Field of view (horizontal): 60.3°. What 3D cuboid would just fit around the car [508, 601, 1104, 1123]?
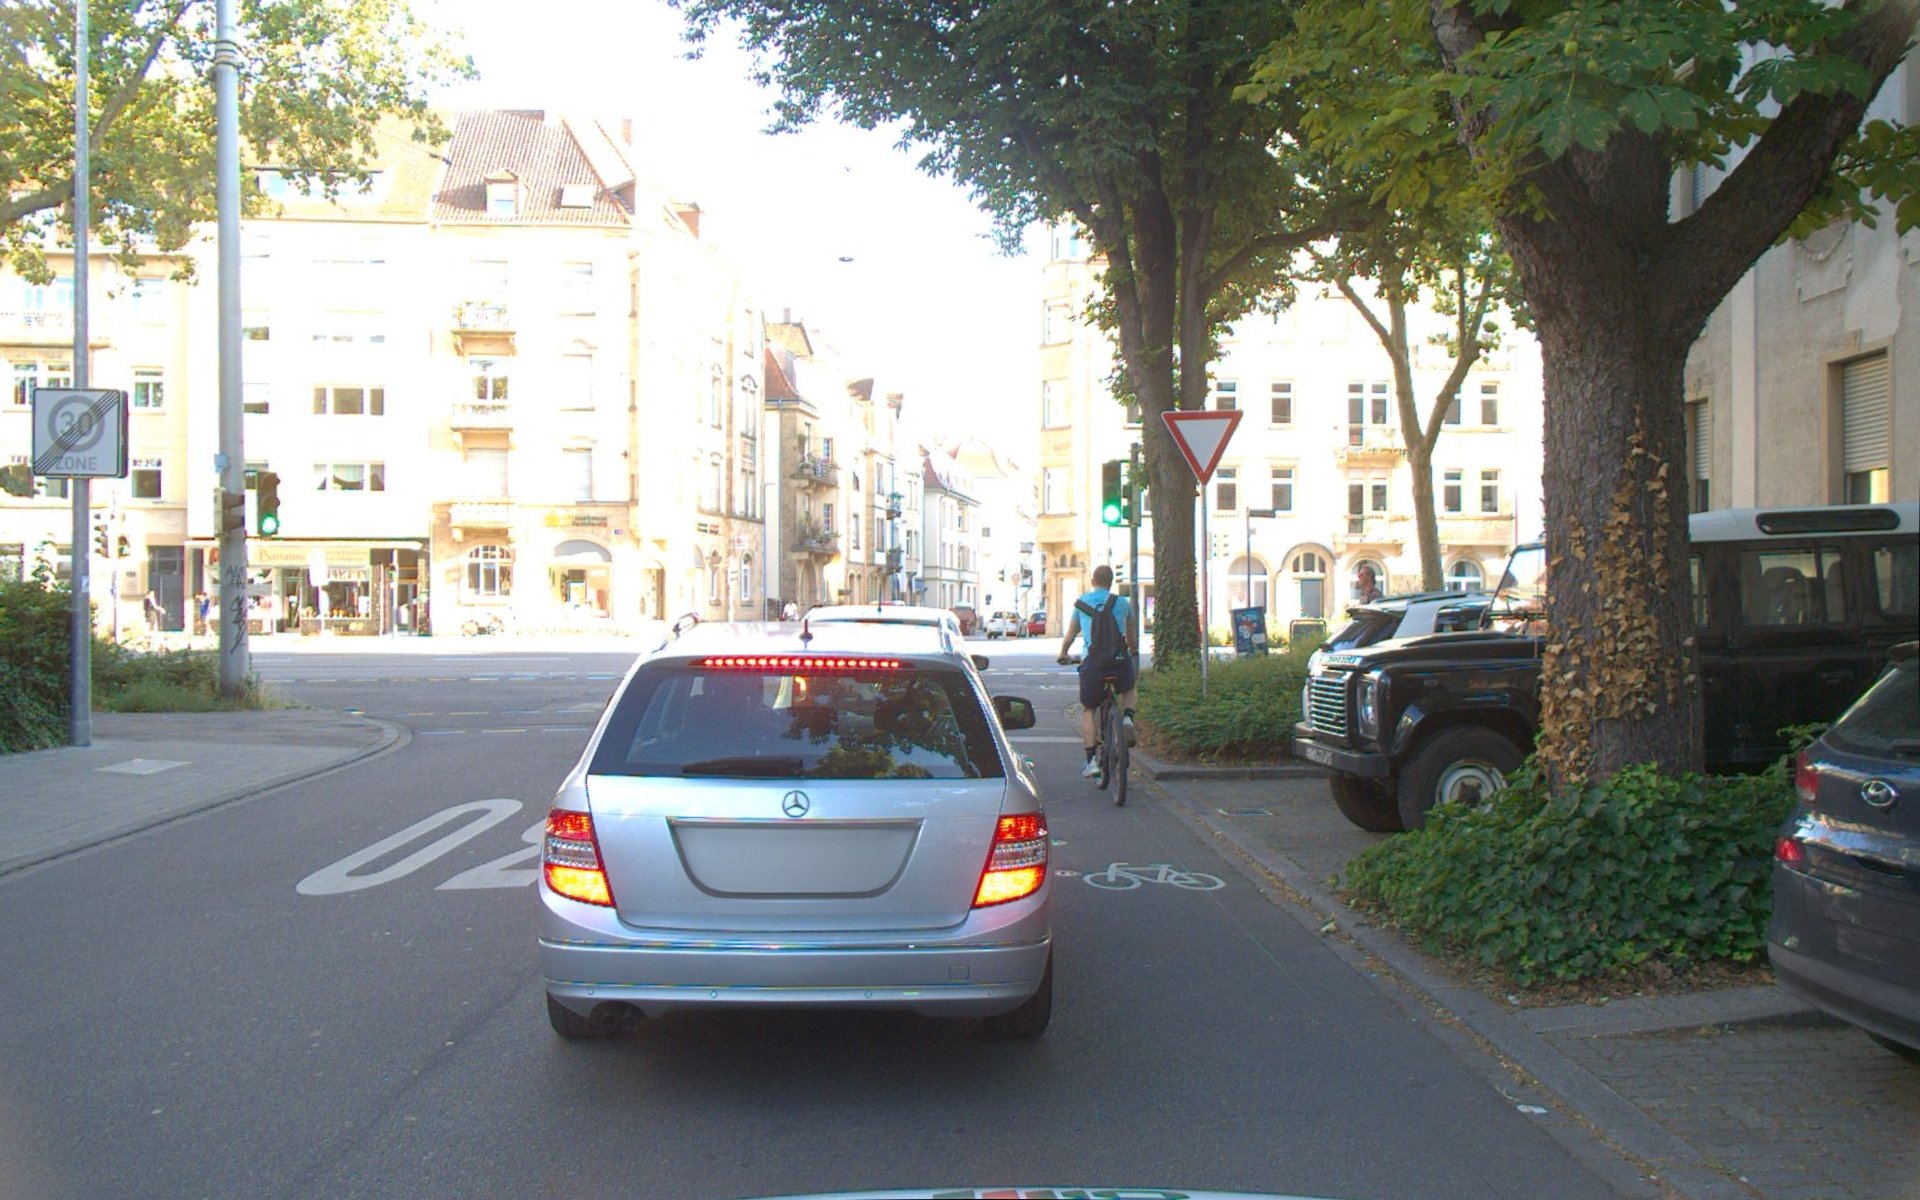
[{"bbox_3d":[-0.525,0.751,6.432,1.657,1.454,3.490,1,0,-3],"label":"car"}]

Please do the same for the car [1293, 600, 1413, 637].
[{"bbox_3d":[11.827,0.564,49.861,3.296,1.087,1.380,0,0,-2],"label":"car"}]

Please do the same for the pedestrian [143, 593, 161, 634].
[{"bbox_3d":[-30.581,0.512,62.625,0.557,1.537,0.499,0,0,-20],"label":"pedestrian"}]

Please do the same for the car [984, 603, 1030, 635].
[{"bbox_3d":[2.488,0.979,85.901,1.684,1.504,4.004,-2,0,11],"label":"car"}]

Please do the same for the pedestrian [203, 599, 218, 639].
[{"bbox_3d":[-28.906,0.735,63.802,0.502,1.537,0.532,0,0,-24],"label":"pedestrian"}]

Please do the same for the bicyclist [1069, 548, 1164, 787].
[{"bbox_3d":[1.214,0.513,12.951,0.633,1.806,0.830,1,-1,-1],"label":"bicyclist"}]

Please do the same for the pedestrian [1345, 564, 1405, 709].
[{"bbox_3d":[5.444,0.466,21.717,0.619,1.877,0.574,0,0,-5],"label":"pedestrian"}]

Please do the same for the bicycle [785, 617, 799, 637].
[{"bbox_3d":[-7.424,1.169,73.005,0.557,0.849,1.564,0,0,-4],"label":"bicycle"}]

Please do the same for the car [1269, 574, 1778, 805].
[{"bbox_3d":[4.378,0.651,13.141,3.415,1.614,1.708,-1,0,-7],"label":"car"}]

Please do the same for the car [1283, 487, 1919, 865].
[{"bbox_3d":[4.419,0.393,10.227,4.402,1.990,1.791,-2,0,-4],"label":"car"}]

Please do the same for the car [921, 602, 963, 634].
[{"bbox_3d":[-1.004,1.001,93.390,1.650,1.753,4.003,0,0,10],"label":"car"}]

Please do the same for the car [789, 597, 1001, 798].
[{"bbox_3d":[-0.537,0.699,13.663,1.502,1.415,3.597,0,0,-2],"label":"car"}]

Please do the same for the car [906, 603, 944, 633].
[{"bbox_3d":[-2.128,1.114,102.335,1.615,1.814,3.866,0,-1,10],"label":"car"}]

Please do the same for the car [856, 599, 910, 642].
[{"bbox_3d":[-3.673,0.947,79.545,1.896,1.993,4.153,0,0,7],"label":"car"}]

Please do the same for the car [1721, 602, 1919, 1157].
[{"bbox_3d":[4.325,0.679,4.572,3.675,1.446,1.627,-2,-1,-4],"label":"car"}]

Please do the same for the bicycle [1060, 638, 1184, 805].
[{"bbox_3d":[1.226,0.899,12.928,0.727,1.137,2.013,1,0,-1],"label":"bicycle"}]

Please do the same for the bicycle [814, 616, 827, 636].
[{"bbox_3d":[-6.195,1.164,73.334,0.557,0.849,1.564,0,0,-4],"label":"bicycle"}]

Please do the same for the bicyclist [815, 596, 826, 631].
[{"bbox_3d":[-6.198,0.586,73.340,0.457,1.547,0.693,0,0,-4],"label":"bicyclist"}]

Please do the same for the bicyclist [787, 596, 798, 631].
[{"bbox_3d":[-7.423,0.576,73.165,0.457,1.541,0.655,0,0,-4],"label":"bicyclist"}]

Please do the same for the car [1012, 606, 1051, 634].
[{"bbox_3d":[4.427,1.208,102.119,1.684,1.503,4.004,-4,0,11],"label":"car"}]
